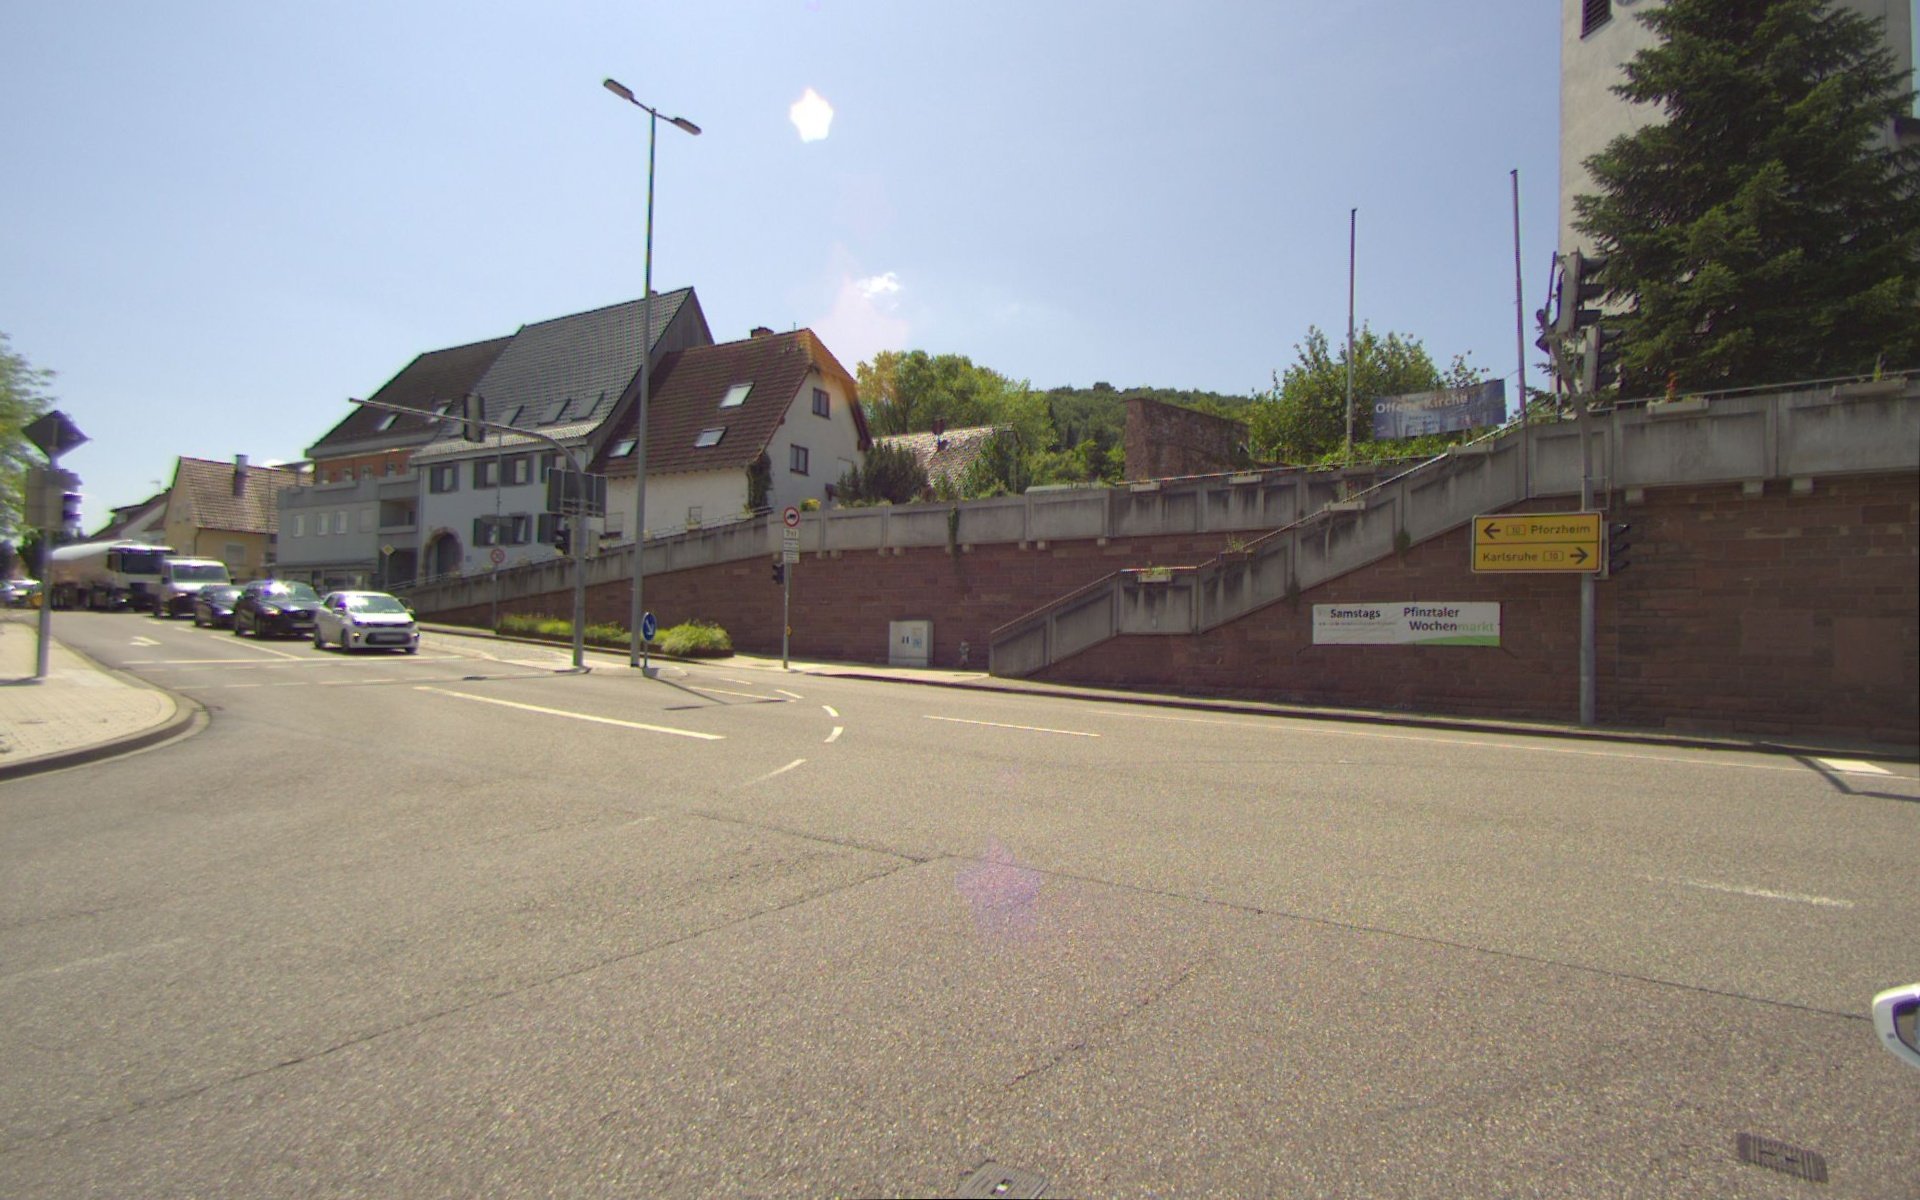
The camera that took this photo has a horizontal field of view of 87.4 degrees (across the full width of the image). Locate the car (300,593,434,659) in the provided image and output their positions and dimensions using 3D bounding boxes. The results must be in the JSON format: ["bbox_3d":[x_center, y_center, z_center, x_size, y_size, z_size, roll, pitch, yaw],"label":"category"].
[{"bbox_3d":[-15.260,0.630,25.793,3.942,1.499,1.854,2,0,42],"label":"car"}]

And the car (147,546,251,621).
[{"bbox_3d":[-31.324,-0.662,41.251,6.413,2.859,2.292,2,0,43],"label":"car"}]

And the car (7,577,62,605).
[{"bbox_3d":[-58.219,-0.593,63.188,3.939,1.658,1.991,1,0,39],"label":"car"}]

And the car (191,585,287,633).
[{"bbox_3d":[-24.636,0.279,34.274,3.942,1.499,1.854,2,0,42],"label":"car"}]

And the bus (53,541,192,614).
[{"bbox_3d":[-41.406,-1.134,49.456,12.449,3.211,2.538,2,0,37],"label":"bus"}]

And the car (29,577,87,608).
[{"bbox_3d":[-52.763,-0.438,58.747,3.939,1.658,1.991,3,1,40],"label":"car"}]

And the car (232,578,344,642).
[{"bbox_3d":[-19.780,0.268,29.523,3.943,1.737,1.854,2,0,43],"label":"car"}]

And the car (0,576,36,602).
[{"bbox_3d":[-64.056,-0.764,67.822,3.939,1.658,1.991,1,0,40],"label":"car"}]
